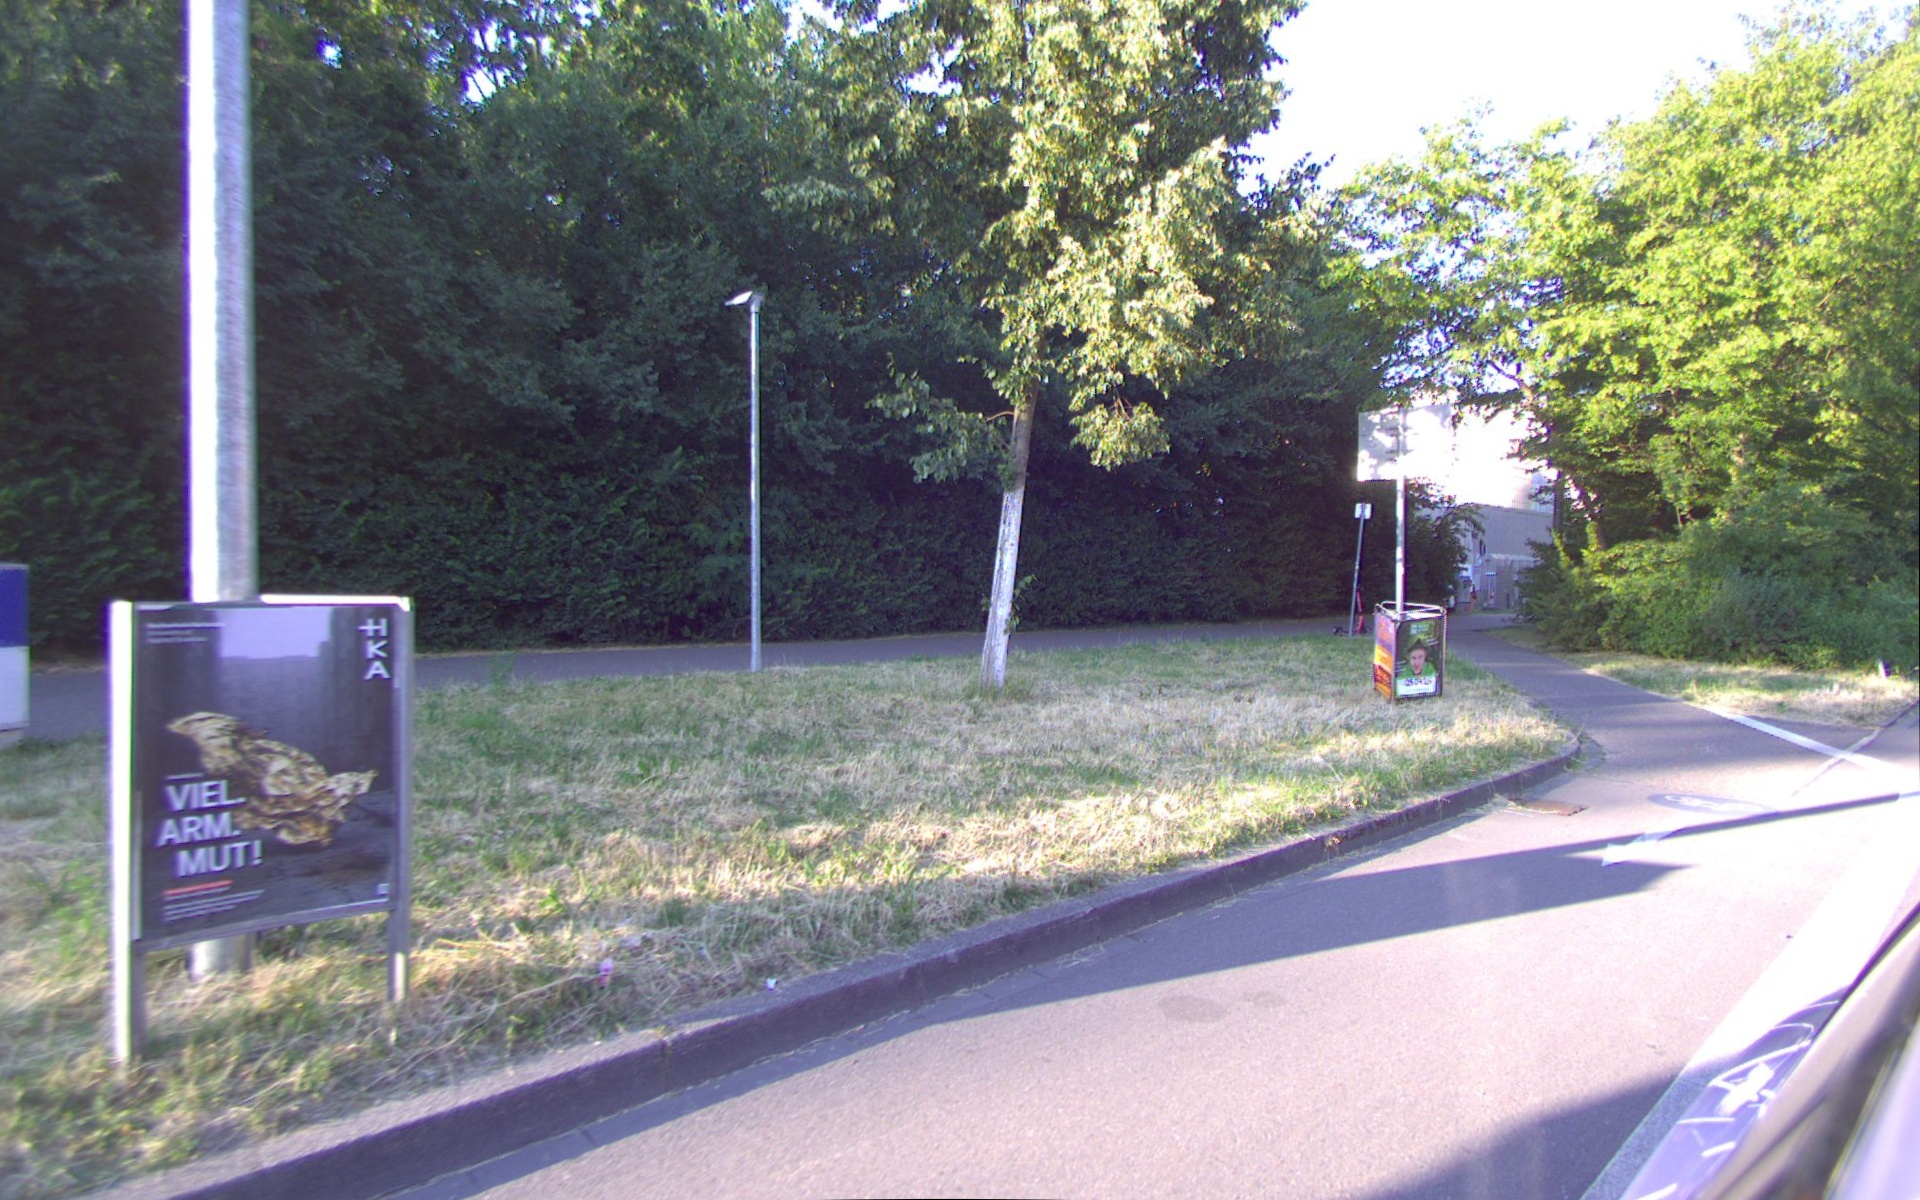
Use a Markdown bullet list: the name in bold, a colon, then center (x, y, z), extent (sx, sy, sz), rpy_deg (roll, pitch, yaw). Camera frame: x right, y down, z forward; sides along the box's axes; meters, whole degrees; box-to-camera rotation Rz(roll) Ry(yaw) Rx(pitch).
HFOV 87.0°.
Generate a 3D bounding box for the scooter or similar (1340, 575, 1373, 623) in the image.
- **scooter or similar**: center (9.128, -0.020, 23.296), extent (0.819, 1.100, 0.194), rpy_deg (0, -1, -27)
